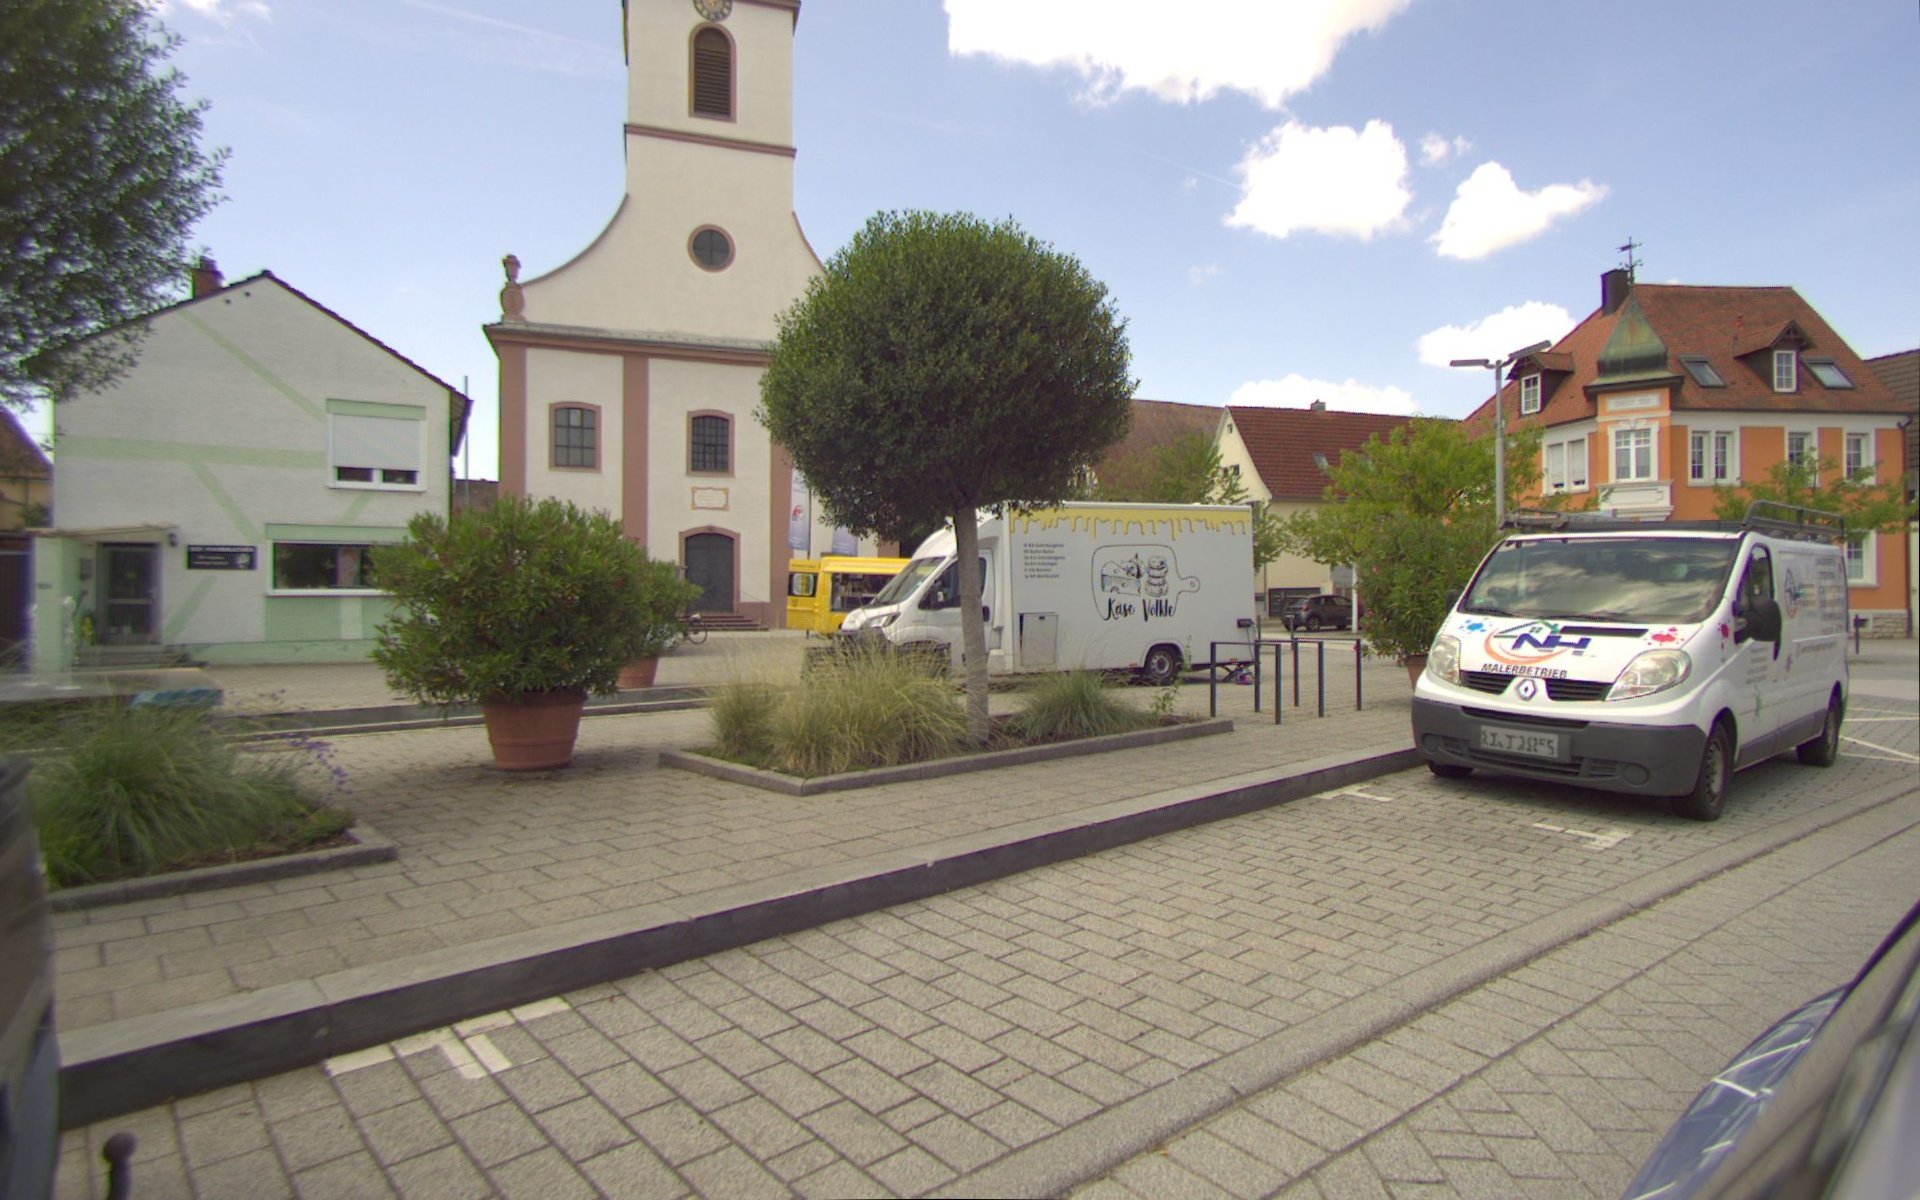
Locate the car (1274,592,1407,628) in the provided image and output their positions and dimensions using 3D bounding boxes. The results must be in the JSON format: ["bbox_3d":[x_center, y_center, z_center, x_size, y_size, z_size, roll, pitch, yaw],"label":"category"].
[{"bbox_3d":[15.868,0.392,42.221,5.017,1.460,2.004,0,0,-18],"label":"car"}]

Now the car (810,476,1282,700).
[{"bbox_3d":[1.375,-0.188,16.181,6.965,3.001,2.766,-1,-1,-22],"label":"car"}]

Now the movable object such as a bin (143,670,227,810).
[{"bbox_3d":[-4.634,0.814,6.067,0.384,0.742,0.567,0,0,-37],"label":"movable object such as a bin"}]

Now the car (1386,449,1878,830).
[{"bbox_3d":[5.653,0.187,8.210,5.010,2.204,1.947,0,2,-40],"label":"car"}]

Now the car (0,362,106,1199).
[{"bbox_3d":[-3.163,0.538,0.324,4.338,1.584,1.774,0,2,-38],"label":"car"}]

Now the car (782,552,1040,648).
[{"bbox_3d":[-1.242,0.002,28.078,6.845,2.508,2.649,0,0,7],"label":"car"}]

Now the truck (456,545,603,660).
[{"bbox_3d":[-11.161,0.027,25.844,2.897,2.529,6.833,0,0,-28],"label":"truck"}]

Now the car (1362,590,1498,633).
[{"bbox_3d":[17.108,0.417,36.876,4.623,1.503,1.628,0,-1,-18],"label":"car"}]
